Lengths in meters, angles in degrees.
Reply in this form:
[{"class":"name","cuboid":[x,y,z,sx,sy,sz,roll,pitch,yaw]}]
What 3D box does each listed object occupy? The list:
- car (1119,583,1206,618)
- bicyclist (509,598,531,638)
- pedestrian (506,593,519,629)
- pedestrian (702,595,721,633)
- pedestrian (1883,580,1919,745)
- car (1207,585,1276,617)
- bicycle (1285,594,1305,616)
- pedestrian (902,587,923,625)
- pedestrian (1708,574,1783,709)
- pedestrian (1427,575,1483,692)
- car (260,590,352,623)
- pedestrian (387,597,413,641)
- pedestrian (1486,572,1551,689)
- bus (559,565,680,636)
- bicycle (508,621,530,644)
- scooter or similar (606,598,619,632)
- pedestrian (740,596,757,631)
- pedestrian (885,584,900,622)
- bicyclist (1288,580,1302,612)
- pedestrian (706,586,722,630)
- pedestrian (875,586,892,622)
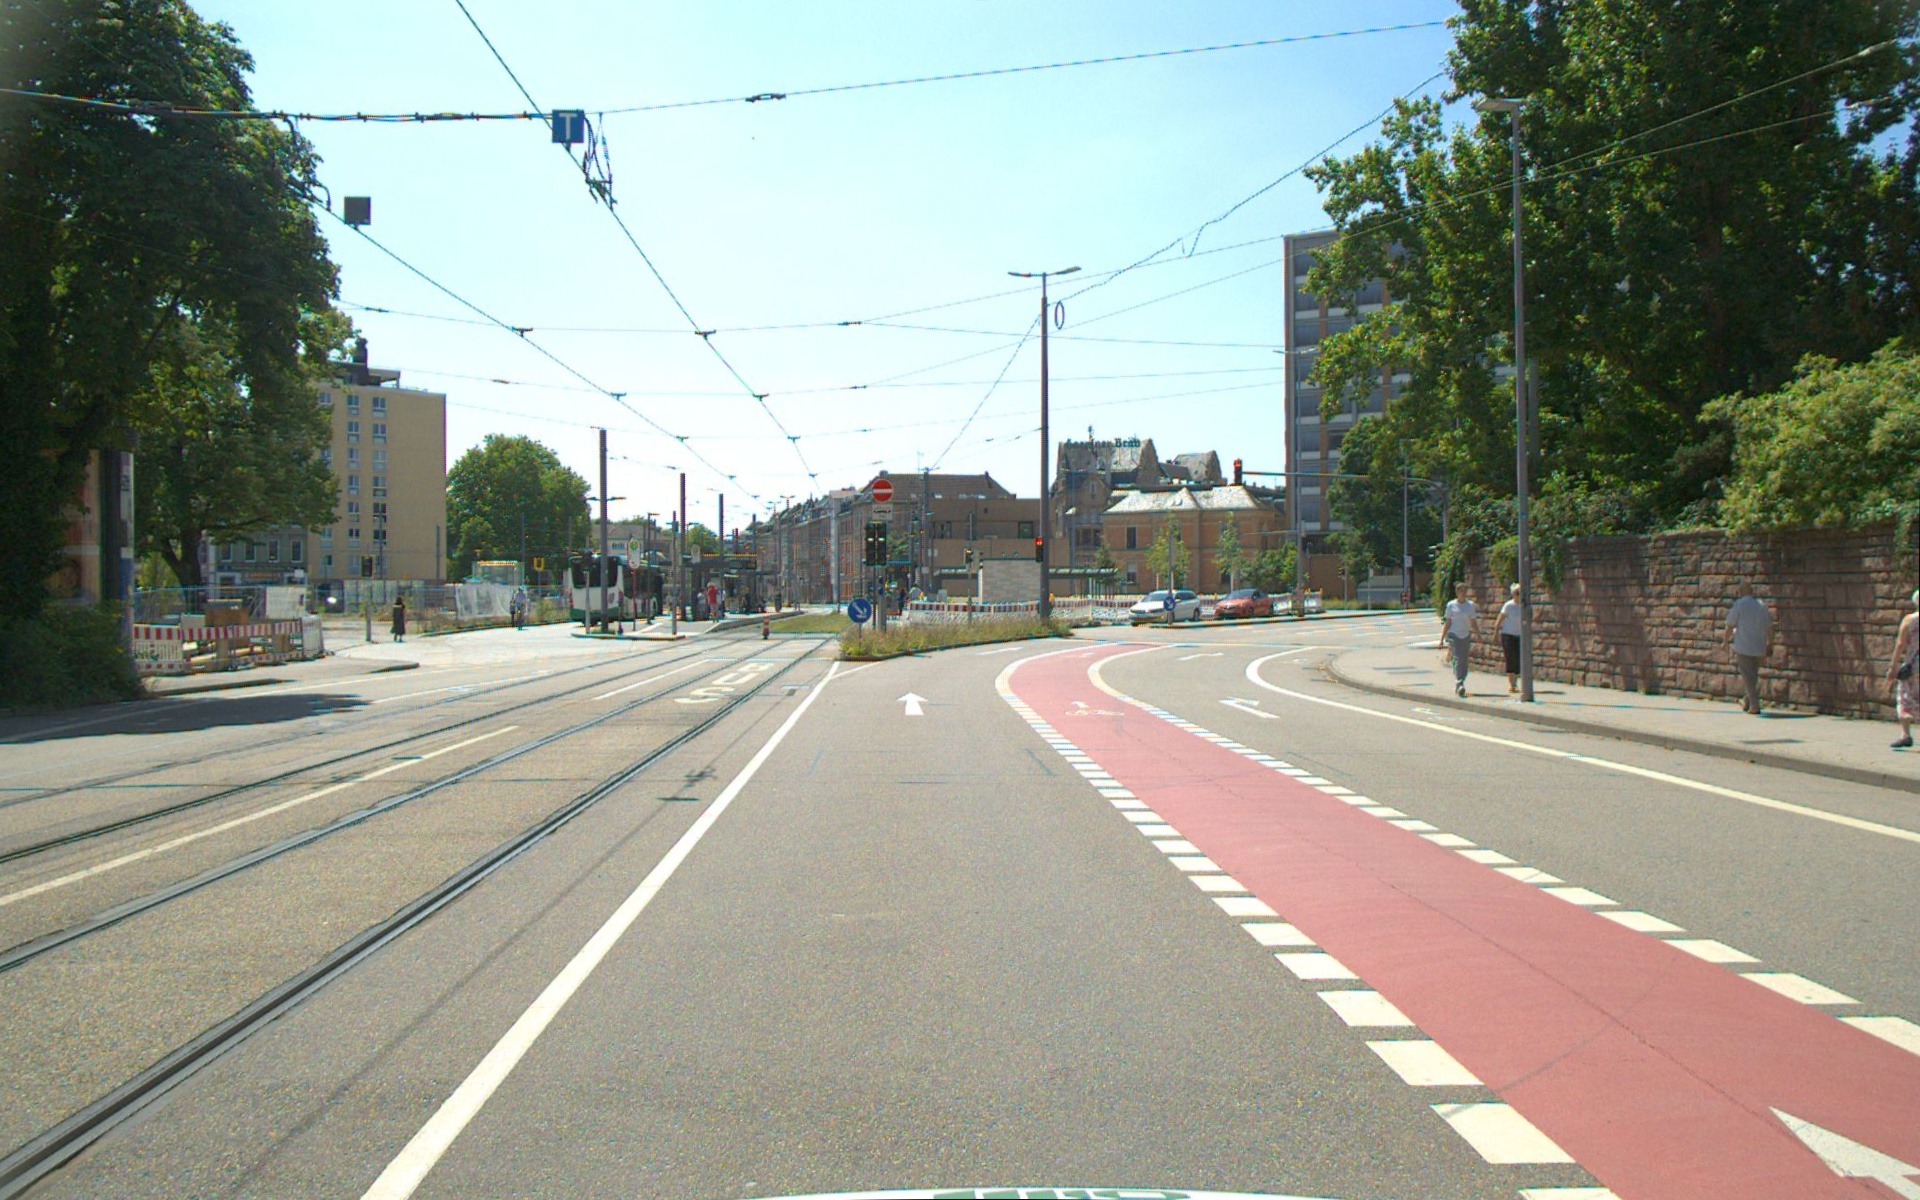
[{"class":"car","cuboid":[8.800,0.019,71.527,1.958,1.463,4.693,-1,-1,32]},{"class":"bicyclist","cuboid":[-19.422,0.806,73.054,0.805,1.739,0.770,-1,0,-5]},{"class":"pedestrian","cuboid":[-21.478,0.538,79.378,0.556,1.735,0.396,-1,0,-10]},{"class":"pedestrian","cuboid":[-12.416,0.713,82.596,0.895,1.884,0.656,-1,0,-12]},{"class":"pedestrian","cuboid":[9.312,0.584,15.936,0.504,1.559,0.598,-1,0,3]},{"class":"car","cuboid":[13.432,0.047,78.857,1.701,1.450,4.110,-1,-1,34]},{"class":"bicycle","cuboid":[18.332,0.287,90.391,0.391,1.195,1.764,-1,-2,35]},{"class":"pedestrian","cuboid":[-2.336,0.299,82.060,0.761,1.897,0.719,1,-2,-43]},{"class":"pedestrian","cuboid":[9.940,0.523,20.947,0.647,1.676,0.624,-1,0,3]},{"class":"pedestrian","cuboid":[7.901,0.531,26.419,0.663,1.839,0.748,-1,0,2]},{"class":"car","cuboid":[-34.191,0.355,86.546,4.093,1.678,1.853,-1,0,10]},{"class":"pedestrian","cuboid":[-20.847,0.708,61.560,0.593,1.630,0.826,-1,0,8]},{"class":"pedestrian","cuboid":[8.930,0.484,26.474,0.797,1.839,0.700,-1,0,2]},{"class":"bus","cuboid":[-16.944,-0.010,83.955,2.949,3.213,17.492,-1,0,-2]},{"class":"bicycle","cuboid":[-19.420,1.417,72.862,0.493,0.930,2.368,-1,0,-4]},{"class":"scooter or similar","cuboid":[-12.536,0.537,59.700,0.312,1.227,1.247,-1,0,-7]},{"class":"pedestrian","cuboid":[-13.050,0.837,102.283,0.880,2.133,0.832,-1,0,2]},{"class":"pedestrian","cuboid":[-3.326,0.147,81.405,0.645,1.864,0.758,-1,0,-9]},{"class":"bicyclist","cuboid":[18.332,-0.234,90.509,0.558,1.749,0.504,-1,0,39]},{"class":"pedestrian","cuboid":[-10.873,0.349,73.108,0.661,1.943,0.638,-1,0,-12]},{"class":"pedestrian","cuboid":[-3.716,0.180,80.031,0.714,1.736,0.741,0,-1,-14]}]
